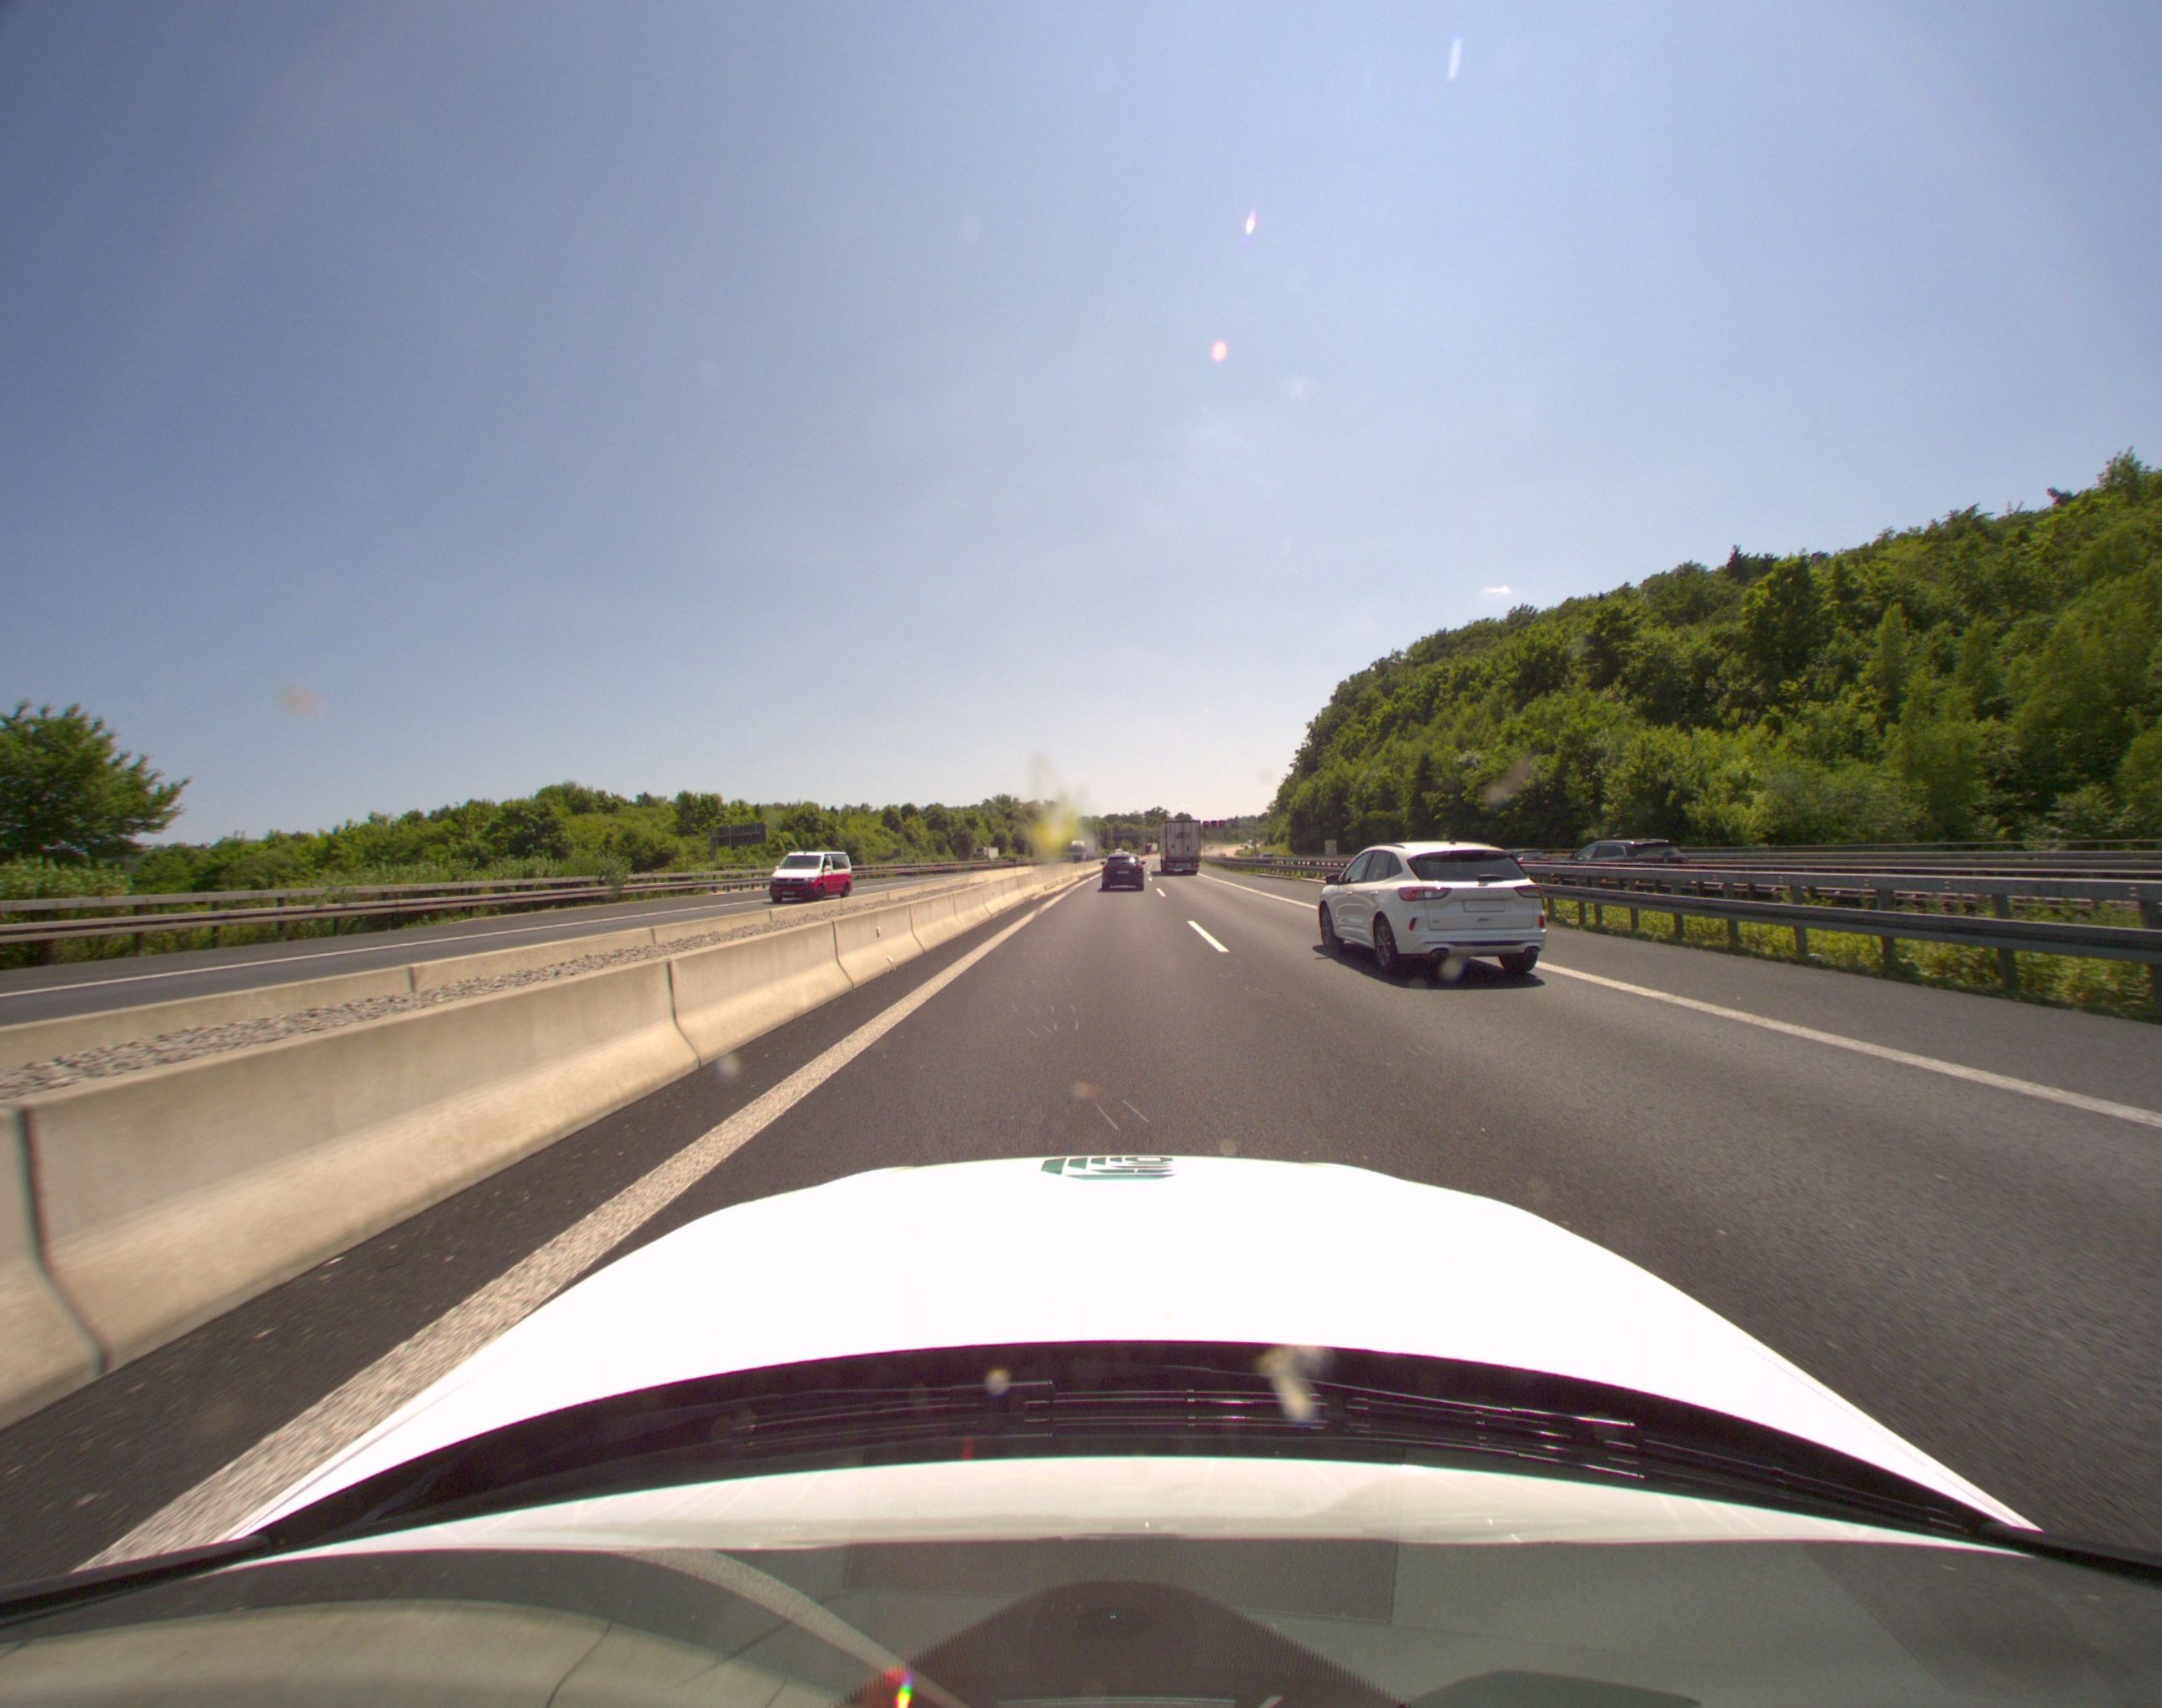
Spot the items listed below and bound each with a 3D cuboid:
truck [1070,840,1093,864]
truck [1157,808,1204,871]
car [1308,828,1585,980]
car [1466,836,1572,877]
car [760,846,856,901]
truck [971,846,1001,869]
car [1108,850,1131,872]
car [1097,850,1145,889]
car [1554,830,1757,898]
[{"bbox_3d":[0.132,-0.291,146.737,2.683,3.960,10.798,-1,-1,7],"label":"truck"},{"bbox_3d":[7.711,-0.956,64.677,3.018,4.418,12.031,-1,-1,4],"label":"truck"},{"bbox_3d":[4.729,0.596,11.389,1.986,1.662,4.470,-1,-1,2],"label":"car"},{"bbox_3d":[19.939,0.123,37.382,1.987,1.662,5.227,-2,0,0],"label":"car"},{"bbox_3d":[-10.894,0.767,32.939,1.987,2.014,5.380,-1,-1,1],"label":"car"},{"bbox_3d":[-16.806,0.647,145.033,2.683,3.960,10.798,-1,-1,7],"label":"truck"},{"bbox_3d":[3.791,0.671,80.339,1.987,2.013,4.000,-4,0,1],"label":"car"},{"bbox_3d":[1.690,0.692,35.869,1.774,1.577,3.997,-1,-1,-2],"label":"car"},{"bbox_3d":[16.096,0.297,23.324,1.986,1.662,5.629,-1,-1,2],"label":"car"}]
